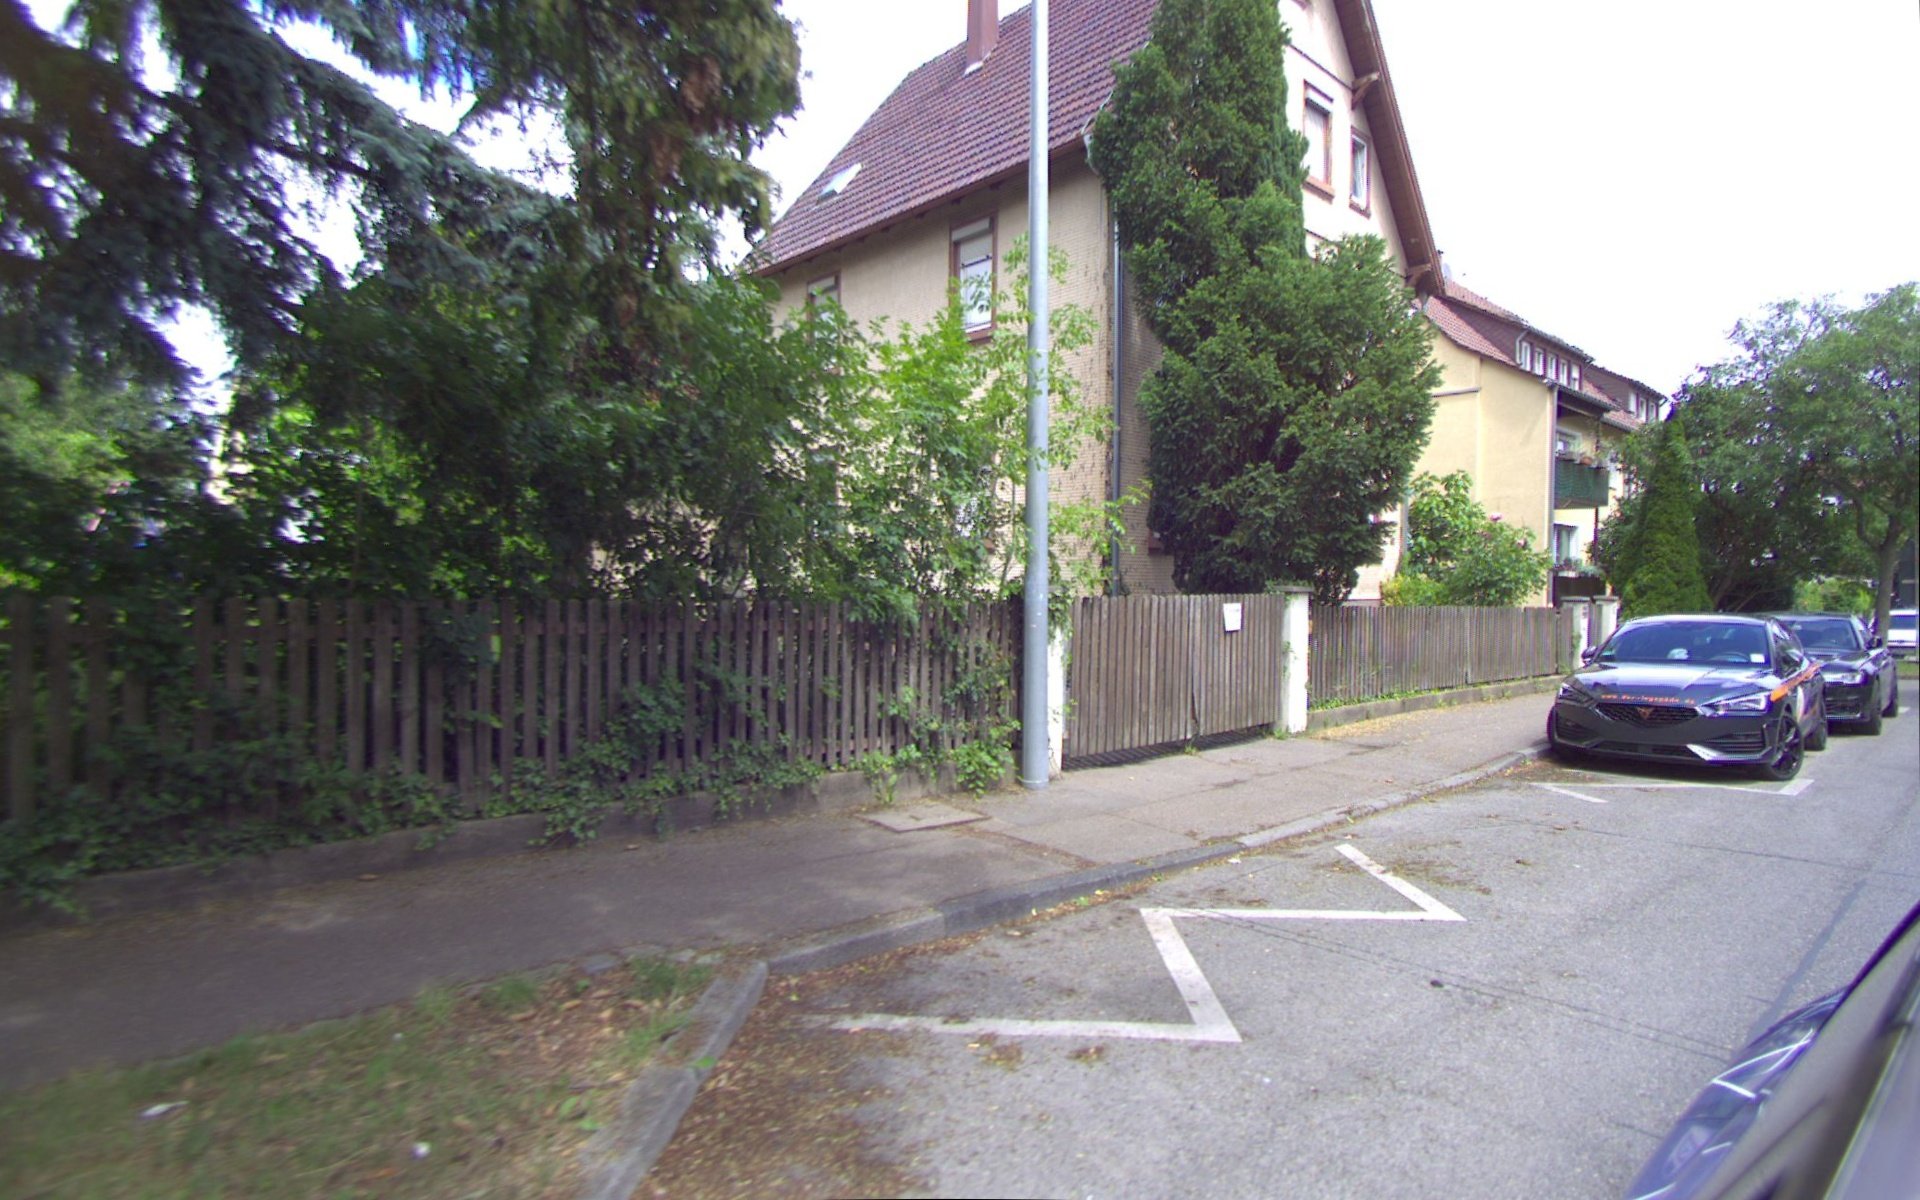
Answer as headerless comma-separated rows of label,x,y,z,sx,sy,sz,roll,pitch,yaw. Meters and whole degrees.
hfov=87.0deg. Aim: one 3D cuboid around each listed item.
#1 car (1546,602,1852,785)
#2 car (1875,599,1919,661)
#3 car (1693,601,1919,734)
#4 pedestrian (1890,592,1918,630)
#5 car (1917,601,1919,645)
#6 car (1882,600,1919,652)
car,7.652,0.755,10.295,4.436,1.435,1.825,0,-1,-45
car,25.148,0.751,26.353,3.715,1.526,1.624,0,1,-43
car,11.456,0.768,13.533,4.805,1.464,1.803,0,-1,-44
pedestrian,43.895,0.518,47.039,0.828,1.734,0.882,-1,1,-41
car,33.400,0.714,33.797,4.799,1.447,1.735,0,-2,-43
car,29.001,0.741,30.007,4.508,1.441,1.997,0,1,-41
